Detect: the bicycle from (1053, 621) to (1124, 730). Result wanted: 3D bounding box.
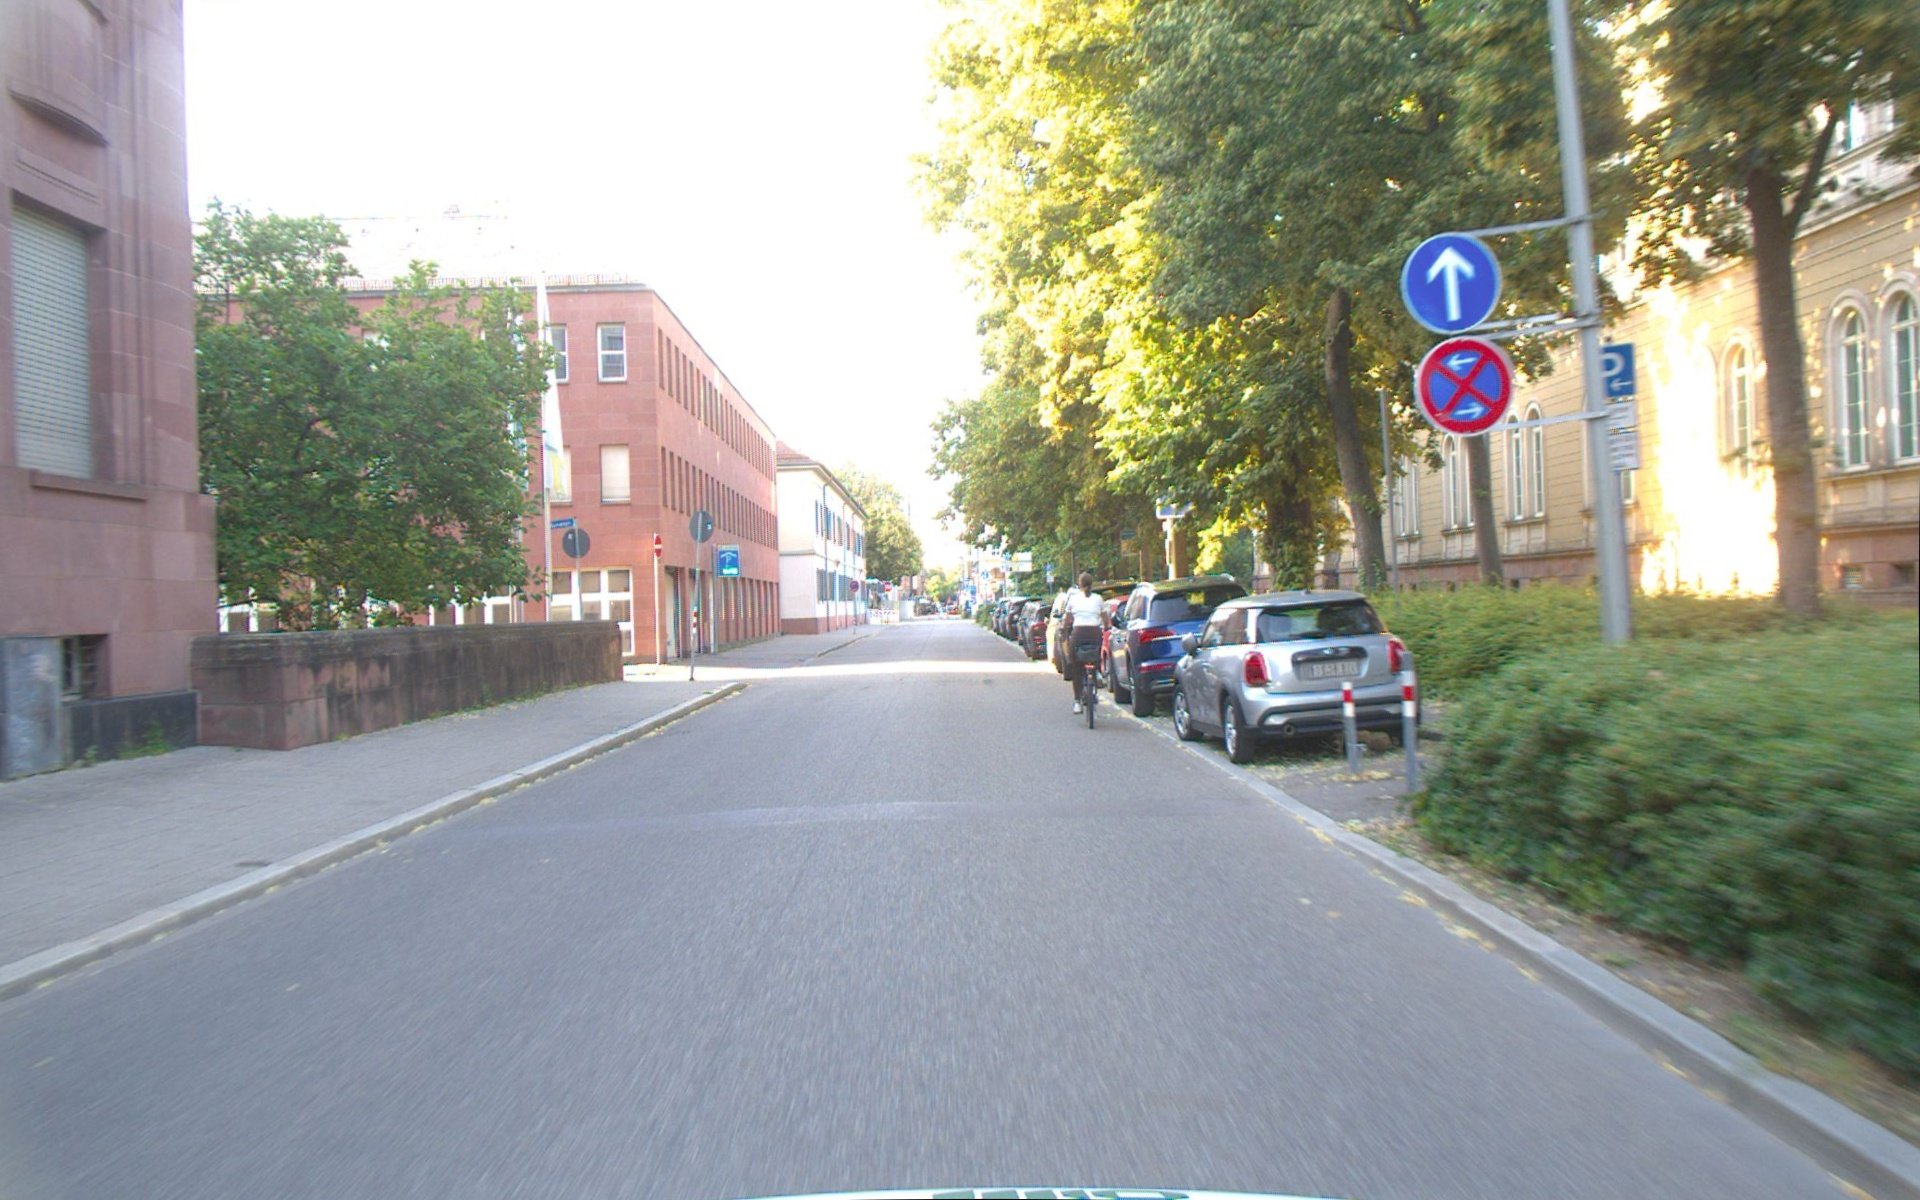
[{"bbox_3d":[1.512,0.874,19.761,0.625,1.214,1.875,0,0,-2],"label":"bicycle"}]

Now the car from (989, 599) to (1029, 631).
[{"bbox_3d":[2.723,0.841,92.729,1.953,1.657,3.999,-3,0,-2],"label":"car"}]

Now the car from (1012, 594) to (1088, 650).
[{"bbox_3d":[2.713,0.663,50.878,1.953,1.556,3.999,-3,0,-2],"label":"car"}]

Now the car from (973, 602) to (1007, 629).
[{"bbox_3d":[2.260,1.133,125.636,2.235,1.886,4.908,-3,0,-2],"label":"car"}]

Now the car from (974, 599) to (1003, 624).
[{"bbox_3d":[2.644,1.051,154.013,2.443,2.234,4.908,-3,0,-2],"label":"car"}]

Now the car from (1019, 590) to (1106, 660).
[{"bbox_3d":[2.760,0.666,45.374,1.953,1.735,3.999,-3,0,-2],"label":"car"}]

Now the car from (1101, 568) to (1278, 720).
[{"bbox_3d":[2.938,0.522,22.081,1.680,1.742,4.472,-3,0,0],"label":"car"}]

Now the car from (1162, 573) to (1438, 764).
[{"bbox_3d":[3.094,0.608,15.784,1.652,1.472,3.670,-5,-1,-2],"label":"car"}]

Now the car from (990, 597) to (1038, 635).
[{"bbox_3d":[2.490,0.730,77.686,1.953,1.657,3.999,-3,0,-2],"label":"car"}]

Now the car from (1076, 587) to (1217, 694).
[{"bbox_3d":[3.027,0.627,27.586,1.681,1.564,4.046,-3,0,-2],"label":"car"}]

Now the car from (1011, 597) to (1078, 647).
[{"bbox_3d":[2.864,0.745,56.758,1.953,1.556,3.999,-3,0,-2],"label":"car"}]

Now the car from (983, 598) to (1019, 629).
[{"bbox_3d":[2.531,0.835,103.510,1.953,1.779,3.999,-3,0,-2],"label":"car"}]

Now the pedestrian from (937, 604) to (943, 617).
[{"bbox_3d":[-2.226,1.168,183.483,0.523,1.497,0.448,-3,0,-2],"label":"pedestrian"}]

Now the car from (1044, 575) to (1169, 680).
[{"bbox_3d":[2.817,0.518,32.683,1.953,1.847,3.999,-3,0,-2],"label":"car"}]

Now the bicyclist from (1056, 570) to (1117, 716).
[{"bbox_3d":[1.507,0.503,19.813,0.626,1.696,0.842,0,0,-2],"label":"bicyclist"}]

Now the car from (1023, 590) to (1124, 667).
[{"bbox_3d":[2.608,0.641,38.951,1.953,1.624,3.999,-3,0,-2],"label":"car"}]

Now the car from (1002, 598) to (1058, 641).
[{"bbox_3d":[2.797,0.761,67.205,1.953,1.612,3.999,-3,0,-2],"label":"car"}]
